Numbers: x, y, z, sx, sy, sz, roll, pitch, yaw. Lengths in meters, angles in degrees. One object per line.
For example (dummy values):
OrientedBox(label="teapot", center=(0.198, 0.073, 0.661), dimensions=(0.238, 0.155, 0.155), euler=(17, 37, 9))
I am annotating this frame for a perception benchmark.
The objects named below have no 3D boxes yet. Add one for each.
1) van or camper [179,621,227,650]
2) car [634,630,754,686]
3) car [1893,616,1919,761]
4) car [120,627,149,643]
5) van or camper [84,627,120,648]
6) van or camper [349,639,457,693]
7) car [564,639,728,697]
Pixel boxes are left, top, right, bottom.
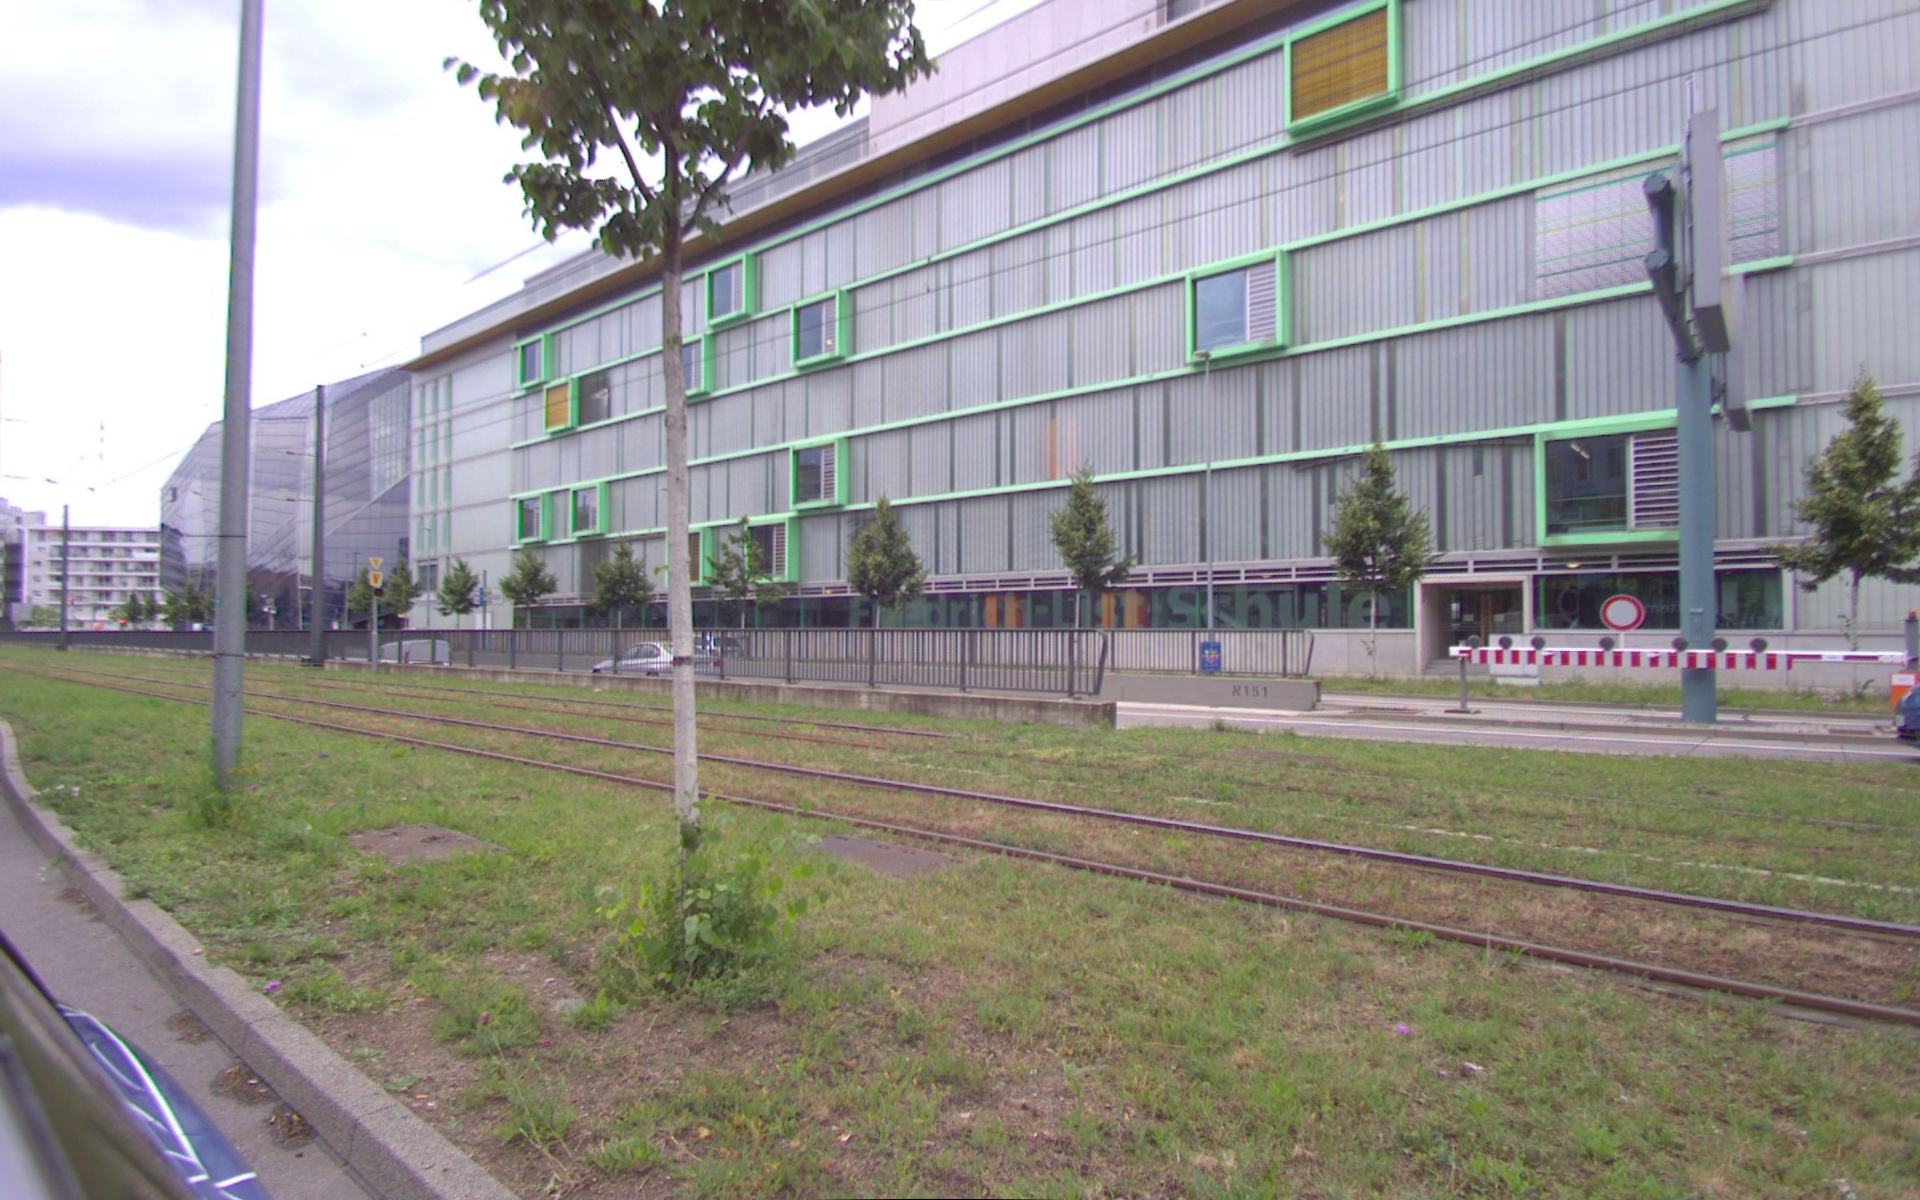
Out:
OrientedBox(label="van or camper", center=(-63.356, 2.954, 84.695), dimensions=(5.356, 2.304, 2.150), euler=(-2, -2, 41))
OrientedBox(label="car", center=(-10.448, 2.208, 39.532), dimensions=(5.292, 2.029, 1.972), euler=(-2, -2, 42))
OrientedBox(label="car", center=(12.637, 0.931, 10.042), dimensions=(4.677, 1.600, 1.947), euler=(-2, -2, 35))
OrientedBox(label="car", center=(-92.754, 3.912, 113.708), dimensions=(4.766, 1.605, 1.972), euler=(-4, -4, 43))
OrientedBox(label="van or camper", center=(-94.462, 4.137, 111.437), dimensions=(6.503, 2.304, 2.150), euler=(-2, -2, 42))
OrientedBox(label="van or camper", center=(-21.593, 2.496, 39.155), dimensions=(5.120, 1.915, 1.870), euler=(-1, -3, 40))
OrientedBox(label="car", center=(-8.615, 1.819, 27.586), dimensions=(4.913, 1.456, 1.712), euler=(-2, -4, 37))
